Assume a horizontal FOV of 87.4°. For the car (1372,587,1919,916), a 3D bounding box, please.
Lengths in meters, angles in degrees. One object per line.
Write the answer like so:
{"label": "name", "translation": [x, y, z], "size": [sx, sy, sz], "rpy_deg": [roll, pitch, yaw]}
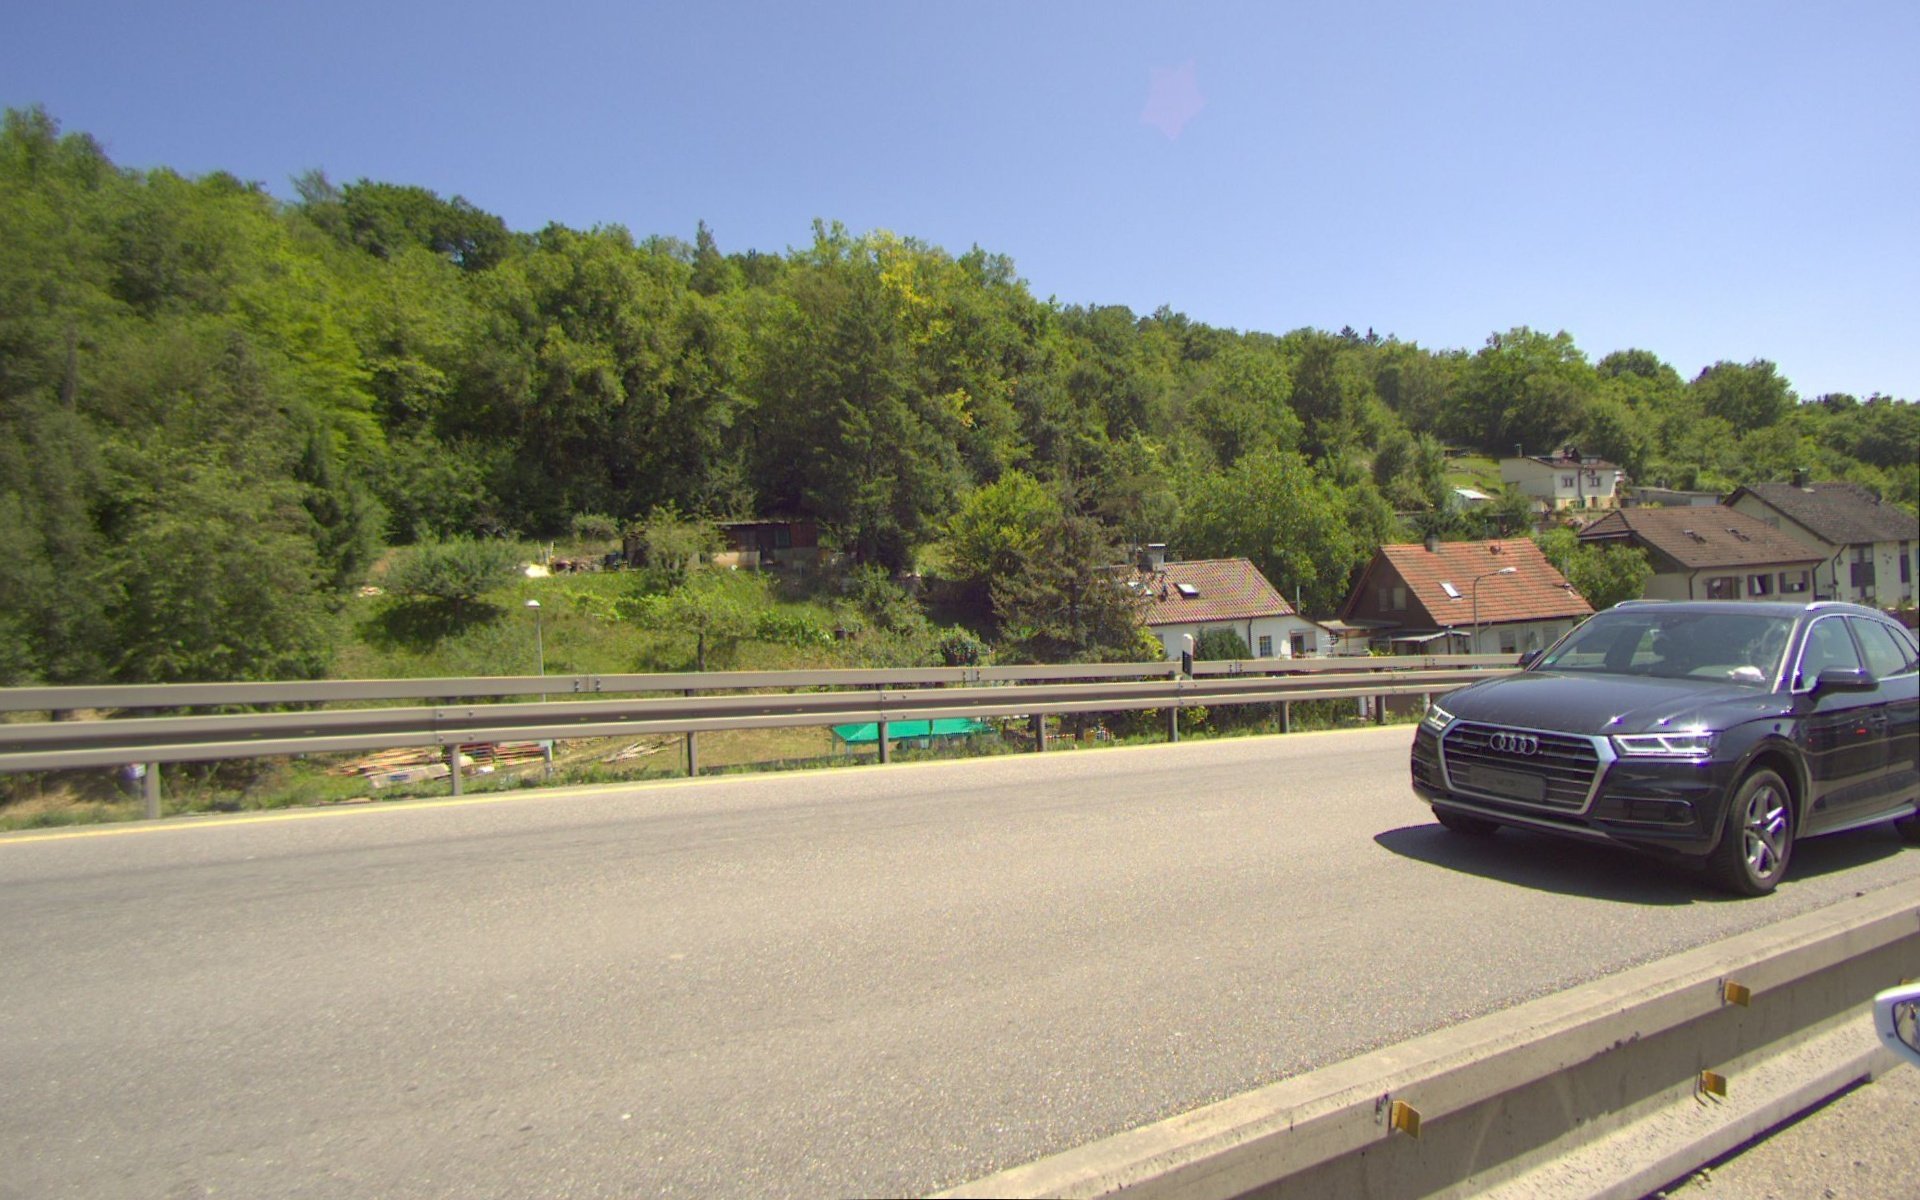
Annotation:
{"label": "car", "translation": [5.106, 0.803, 6.914], "size": [4.476, 1.617, 1.907], "rpy_deg": [2, -1, -31]}
